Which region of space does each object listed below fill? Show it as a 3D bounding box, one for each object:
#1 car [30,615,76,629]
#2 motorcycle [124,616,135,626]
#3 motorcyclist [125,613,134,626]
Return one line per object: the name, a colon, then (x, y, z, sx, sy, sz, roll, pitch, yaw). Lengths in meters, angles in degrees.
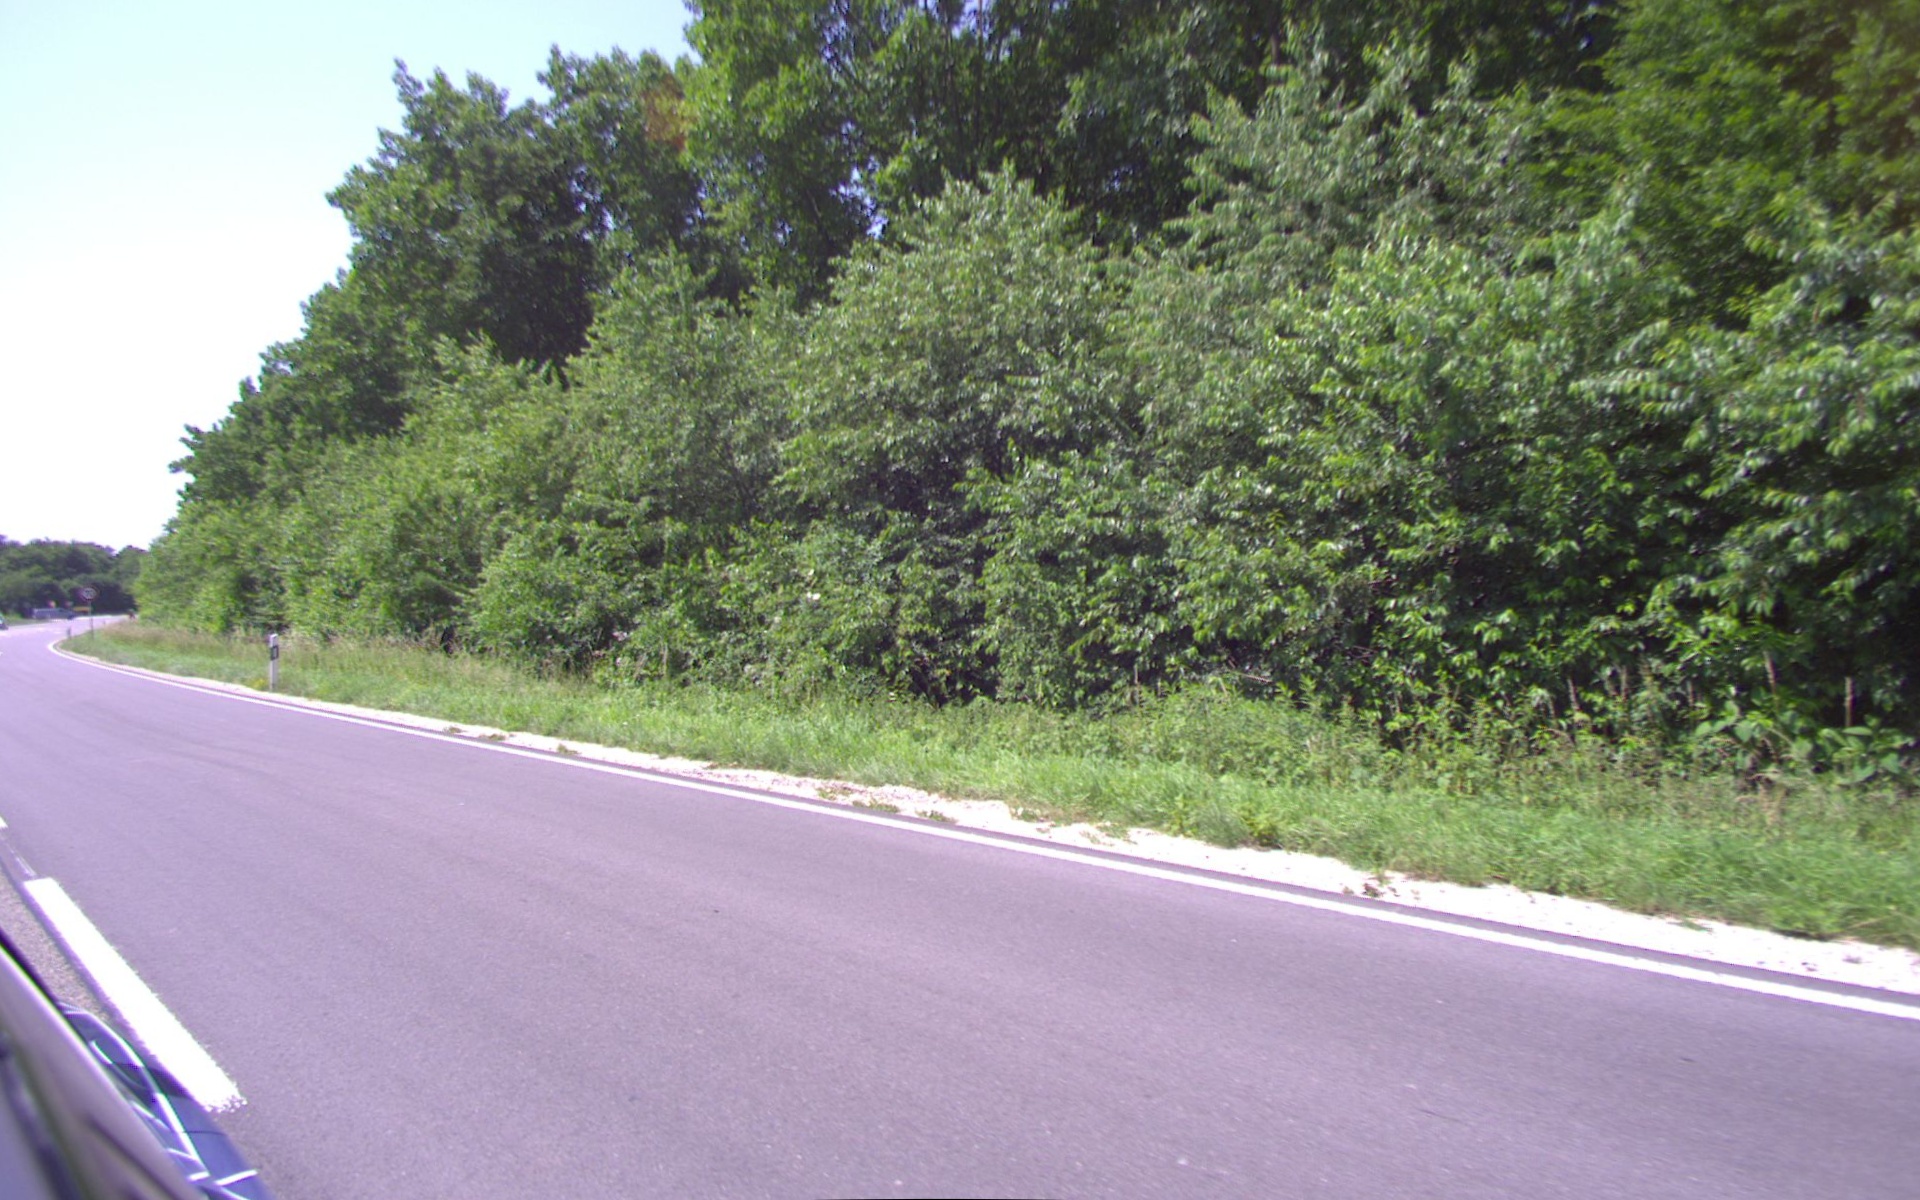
car: (-141.685, 3.431, 158.111, 2.013, 1.921, 5.160, 0, 2, 41)
motorcycle: (-113.760, 2.889, 138.613, 0.936, 1.260, 2.683, 0, -1, -45)
motorcyclist: (-113.344, 2.617, 138.098, 0.623, 1.765, 0.821, -1, -1, 44)
